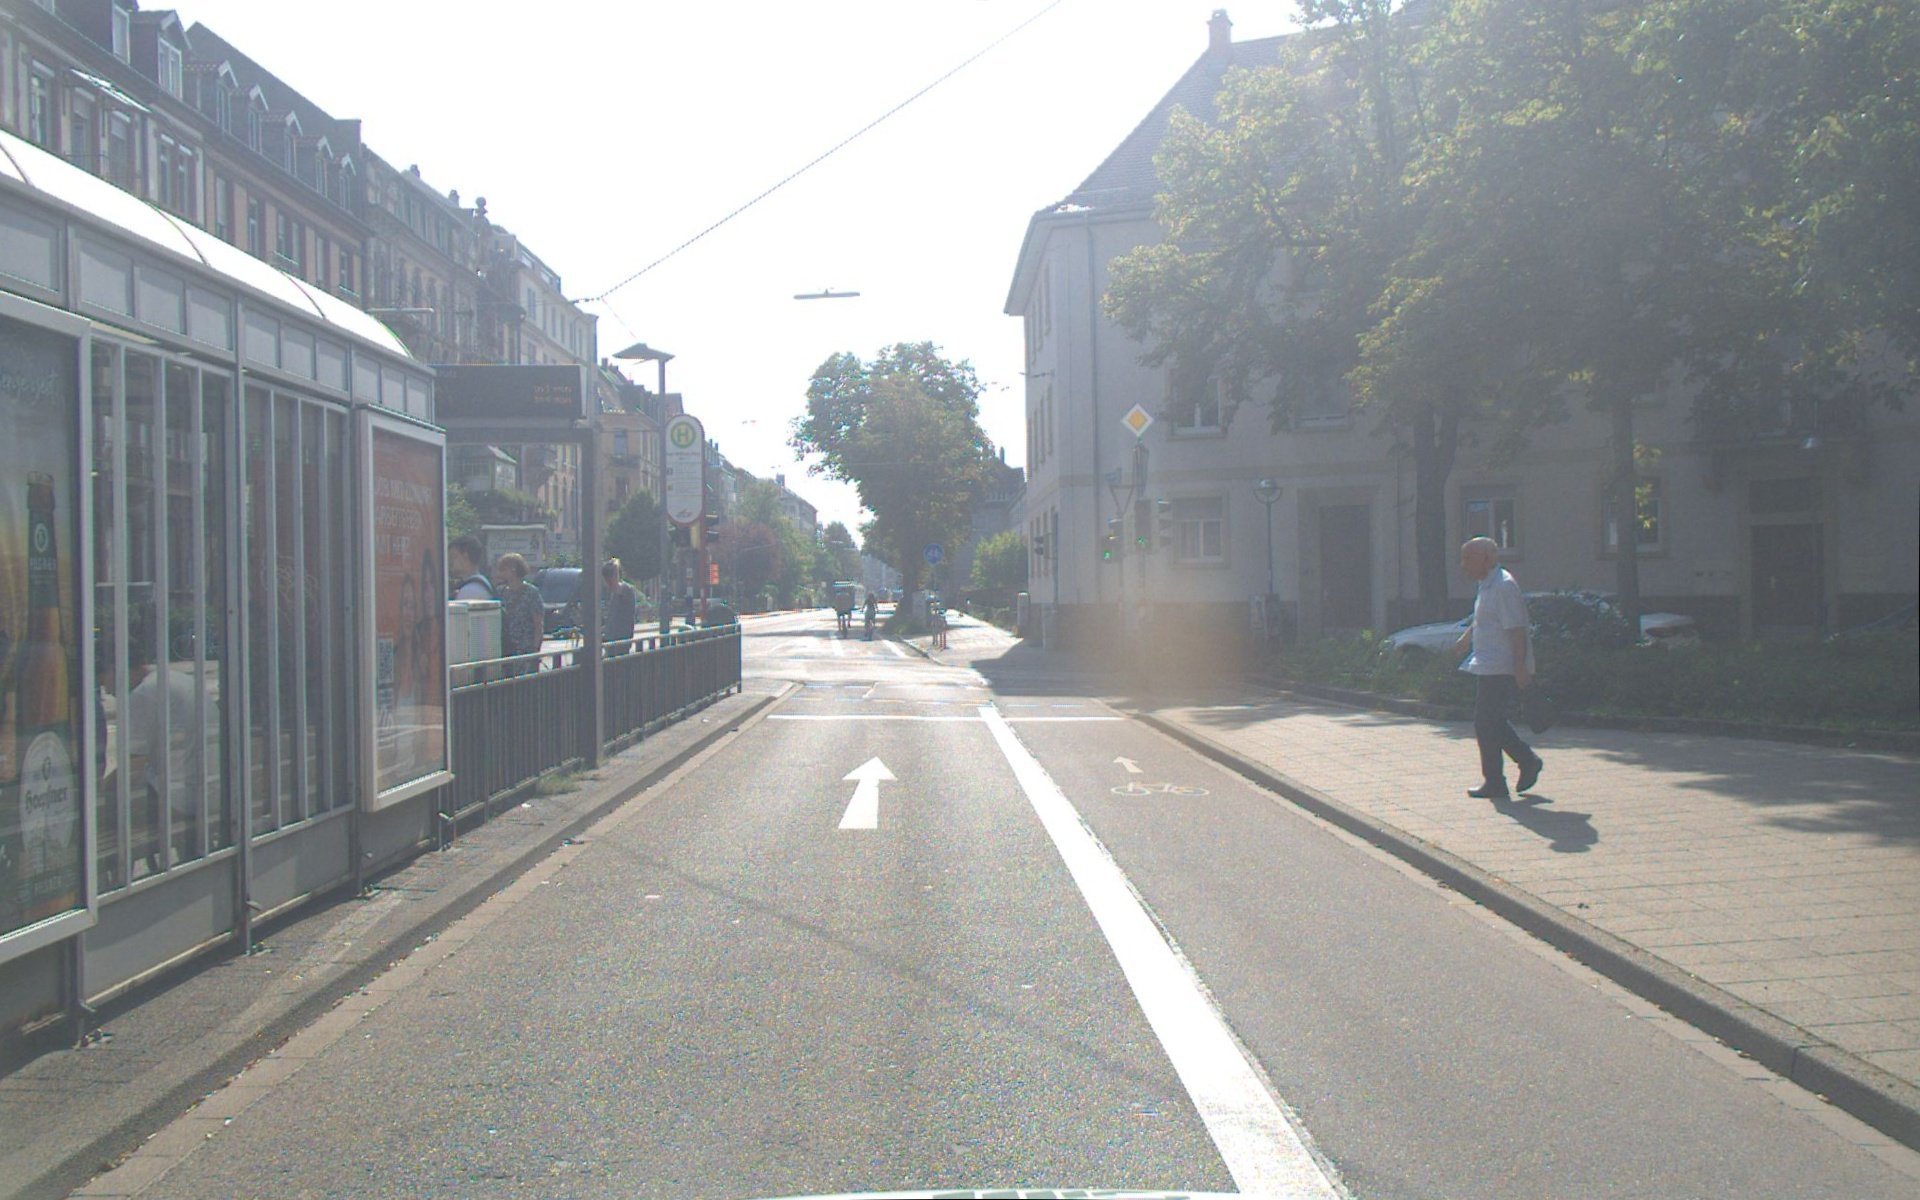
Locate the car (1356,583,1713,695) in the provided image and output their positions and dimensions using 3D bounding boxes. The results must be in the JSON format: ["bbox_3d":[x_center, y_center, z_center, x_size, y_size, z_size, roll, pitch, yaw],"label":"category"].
[{"bbox_3d":[8.796,0.586,25.570,4.861,1.494,1.868,-1,2,39],"label":"car"}]

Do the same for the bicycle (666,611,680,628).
[{"bbox_3d":[-18.350,1.243,105.710,0.533,1.076,1.839,3,0,0],"label":"bicycle"}]

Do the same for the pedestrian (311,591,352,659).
[{"bbox_3d":[-17.128,0.675,45.099,0.713,1.838,1.092,-1,0,-3],"label":"pedestrian"}]

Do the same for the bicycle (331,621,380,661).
[{"bbox_3d":[-16.664,1.125,45.639,0.606,1.024,2.150,-1,0,-2],"label":"bicycle"}]

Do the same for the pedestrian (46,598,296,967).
[{"bbox_3d":[-3.157,0.700,6.670,0.693,1.402,0.622,-1,0,-2],"label":"pedestrian"}]

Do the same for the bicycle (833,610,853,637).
[{"bbox_3d":[-4.100,0.812,57.987,0.614,0.925,1.524,1,0,-2],"label":"bicycle"}]

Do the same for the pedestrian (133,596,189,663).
[{"bbox_3d":[-19.510,0.722,40.401,0.824,1.598,0.943,-1,0,32],"label":"pedestrian"}]

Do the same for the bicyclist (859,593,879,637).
[{"bbox_3d":[-3.095,0.514,56.259,0.641,1.500,0.908,1,-1,-2],"label":"bicyclist"}]

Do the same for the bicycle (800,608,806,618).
[{"bbox_3d":[-21.114,1.737,222.000,0.549,1.242,2.113,-1,0,0],"label":"bicycle"}]

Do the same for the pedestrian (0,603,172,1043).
[{"bbox_3d":[-3.091,0.698,5.457,0.672,1.363,0.622,-1,0,-2],"label":"pedestrian"}]

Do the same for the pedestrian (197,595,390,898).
[{"bbox_3d":[-3.225,0.682,8.044,0.672,1.402,0.622,-1,0,-2],"label":"pedestrian"}]

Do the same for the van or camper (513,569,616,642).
[{"bbox_3d":[-15.479,0.232,65.072,2.007,2.691,6.093,-2,-1,5],"label":"van or camper"}]

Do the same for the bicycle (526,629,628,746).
[{"bbox_3d":[-3.996,0.889,17.360,0.462,1.123,1.738,-1,0,7],"label":"bicycle"}]

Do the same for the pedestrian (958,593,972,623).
[{"bbox_3d":[0.301,0.495,102.256,0.736,1.779,0.879,-1,0,5],"label":"pedestrian"}]

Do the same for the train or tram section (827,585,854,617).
[{"bbox_3d":[-14.300,0.139,198.791,2.679,3.567,15.426,-1,0,-2],"label":"train or tram section"}]

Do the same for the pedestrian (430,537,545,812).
[{"bbox_3d":[-3.267,0.498,11.483,0.591,1.838,0.729,-1,0,-3],"label":"pedestrian"}]

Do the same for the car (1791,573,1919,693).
[{"bbox_3d":[13.058,0.407,21.318,1.732,1.476,3.840,-3,1,-36],"label":"car"}]

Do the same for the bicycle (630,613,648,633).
[{"bbox_3d":[-18.000,1.261,92.758,0.594,1.076,1.839,3,0,0],"label":"bicycle"}]

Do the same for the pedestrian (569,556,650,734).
[{"bbox_3d":[-3.640,0.456,17.210,0.676,1.797,0.796,-1,0,-3],"label":"pedestrian"}]

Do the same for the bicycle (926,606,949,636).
[{"bbox_3d":[-0.881,0.806,64.555,0.756,1.123,2.331,-1,0,-4],"label":"bicycle"}]

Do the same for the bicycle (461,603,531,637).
[{"bbox_3d":[-20.099,0.858,71.704,2.821,1.480,0.996,0,0,-8],"label":"bicycle"}]

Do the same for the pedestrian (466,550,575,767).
[{"bbox_3d":[-3.738,0.482,14.108,0.752,1.791,0.680,-1,0,-3],"label":"pedestrian"}]

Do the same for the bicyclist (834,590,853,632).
[{"bbox_3d":[-4.076,0.383,58.003,0.614,1.425,0.929,1,-1,-2],"label":"bicyclist"}]

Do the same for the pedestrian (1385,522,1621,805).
[{"bbox_3d":[3.647,0.407,11.182,0.953,1.754,1.073,-4,0,-21],"label":"pedestrian"}]

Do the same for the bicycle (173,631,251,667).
[{"bbox_3d":[-19.295,1.256,42.691,0.517,0.875,1.821,-1,0,36],"label":"bicycle"}]

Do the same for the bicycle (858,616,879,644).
[{"bbox_3d":[-3.111,1.006,56.269,0.641,0.925,1.774,1,0,-2],"label":"bicycle"}]
